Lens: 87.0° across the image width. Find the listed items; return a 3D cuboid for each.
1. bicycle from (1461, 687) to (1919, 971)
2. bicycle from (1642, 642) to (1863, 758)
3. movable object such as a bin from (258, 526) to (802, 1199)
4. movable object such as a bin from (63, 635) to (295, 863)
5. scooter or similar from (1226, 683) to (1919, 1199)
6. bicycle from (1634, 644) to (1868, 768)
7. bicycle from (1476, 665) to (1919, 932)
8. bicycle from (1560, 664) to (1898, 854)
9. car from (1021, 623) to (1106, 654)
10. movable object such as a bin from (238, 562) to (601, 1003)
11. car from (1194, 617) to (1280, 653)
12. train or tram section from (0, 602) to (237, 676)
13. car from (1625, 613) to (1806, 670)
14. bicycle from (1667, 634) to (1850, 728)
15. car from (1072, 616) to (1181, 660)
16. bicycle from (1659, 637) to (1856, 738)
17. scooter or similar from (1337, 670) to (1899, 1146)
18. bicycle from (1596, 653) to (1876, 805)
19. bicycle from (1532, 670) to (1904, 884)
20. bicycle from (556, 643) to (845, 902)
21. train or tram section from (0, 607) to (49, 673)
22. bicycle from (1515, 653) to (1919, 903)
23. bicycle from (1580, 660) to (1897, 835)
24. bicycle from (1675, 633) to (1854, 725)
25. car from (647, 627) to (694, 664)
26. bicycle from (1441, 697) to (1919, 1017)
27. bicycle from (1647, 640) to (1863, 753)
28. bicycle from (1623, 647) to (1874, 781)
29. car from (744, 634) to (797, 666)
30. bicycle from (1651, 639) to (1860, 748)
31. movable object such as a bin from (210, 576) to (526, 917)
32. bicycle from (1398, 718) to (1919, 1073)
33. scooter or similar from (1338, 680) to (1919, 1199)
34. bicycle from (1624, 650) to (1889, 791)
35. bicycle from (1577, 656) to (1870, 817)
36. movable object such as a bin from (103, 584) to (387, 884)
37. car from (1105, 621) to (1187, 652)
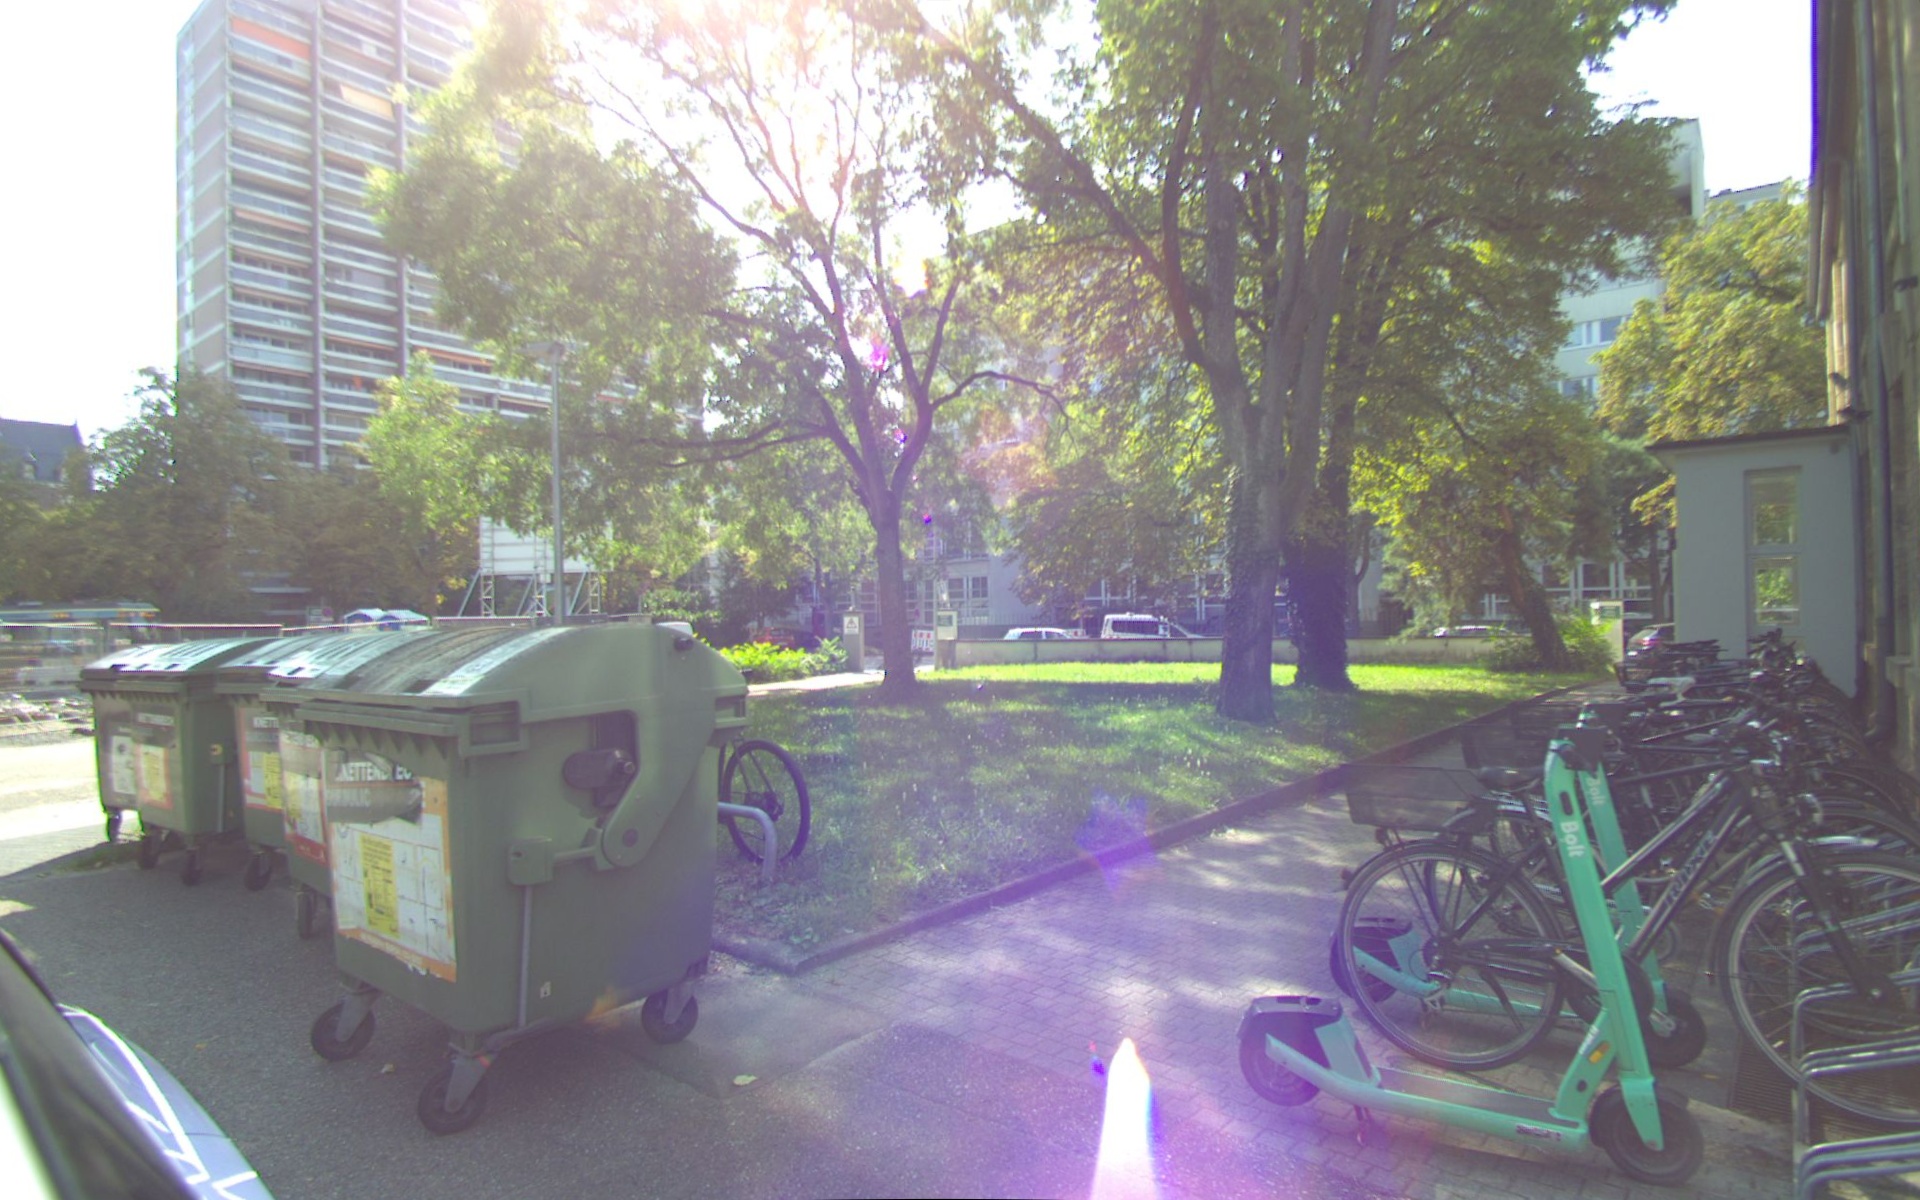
[{"bbox_3d":[3.441,0.991,4.747,1.910,1.083,0.321,-2,-1,39],"label":"bicycle"},{"bbox_3d":[8.059,0.984,10.368,1.744,1.092,0.321,-2,-1,39],"label":"bicycle"},{"bbox_3d":[-1.451,0.685,3.447,1.375,1.718,1.170,-2,-1,36],"label":"movable object such as a bin"},{"bbox_3d":[-5.818,1.032,7.567,1.103,1.509,1.027,-1,-1,29],"label":"movable object such as a bin"},{"bbox_3d":[1.501,0.876,2.692,1.485,1.272,0.383,-1,-1,21],"label":"scooter or similar"},{"bbox_3d":[7.616,0.986,9.821,1.744,1.092,0.321,-2,-1,39],"label":"bicycle"},{"bbox_3d":[3.791,0.948,5.282,1.914,1.157,0.321,-2,-1,39],"label":"bicycle"},{"bbox_3d":[5.063,0.999,6.778,1.744,1.092,0.321,-2,-1,39],"label":"bicycle"},{"bbox_3d":[4.952,1.860,48.975,1.768,1.431,4.007,0,-2,-39],"label":"car"},{"bbox_3d":[-2.613,0.722,4.861,1.395,1.718,1.167,-2,-1,44],"label":"movable object such as a bin"},{"bbox_3d":[13.043,1.638,47.853,1.833,1.555,4.013,-1,-1,-22],"label":"car"},{"bbox_3d":[-45.581,2.112,54.136,13.853,3.599,2.745,-2,-1,13],"label":"train or tram section"},{"bbox_3d":[21.993,1.211,29.627,3.782,1.555,1.722,-2,-1,14],"label":"car"},{"bbox_3d":[9.883,0.976,12.593,1.744,1.092,0.321,-2,-1,39],"label":"bicycle"},{"bbox_3d":[6.352,1.423,38.432,3.961,1.555,1.857,-2,-1,14],"label":"car"},{"bbox_3d":[9.179,0.979,11.712,1.744,1.092,0.321,-2,-1,39],"label":"bicycle"},{"bbox_3d":[2.077,0.884,3.374,1.494,1.249,0.321,-2,-1,39],"label":"scooter or similar"},{"bbox_3d":[6.209,0.994,8.194,1.744,1.092,0.321,-2,-1,39],"label":"bicycle"},{"bbox_3d":[4.501,1.002,6.140,1.744,1.092,0.321,-2,-1,39],"label":"bicycle"},{"bbox_3d":[-1.530,0.866,5.715,2.006,1.222,0.471,-2,-1,39],"label":"bicycle"},{"bbox_3d":[-58.521,2.377,57.096,14.442,3.599,2.745,-2,-1,13],"label":"train or tram section"},{"bbox_3d":[4.159,0.909,5.637,1.823,1.198,0.321,-2,-1,39],"label":"bicycle"},{"bbox_3d":[5.497,0.997,7.253,1.744,1.092,0.321,-2,-1,39],"label":"bicycle"},{"bbox_3d":[10.192,0.973,12.880,1.744,1.092,0.321,-2,-1,39],"label":"bicycle"},{"bbox_3d":[-15.760,2.452,55.040,1.833,1.918,4.013,-1,-1,-25],"label":"car"},{"bbox_3d":[3.080,1.008,4.311,1.817,1.088,0.321,-2,-1,39],"label":"bicycle"},{"bbox_3d":[8.340,0.983,10.691,1.744,1.092,0.321,-2,-1,39],"label":"bicycle"},{"bbox_3d":[7.090,0.989,9.187,1.744,1.092,0.321,-2,-1,39],"label":"bicycle"},{"bbox_3d":[-10.224,2.651,54.339,1.833,1.555,4.013,-1,-1,-25],"label":"car"},{"bbox_3d":[8.594,0.982,11.011,1.744,1.092,0.321,-2,-1,39],"label":"bicycle"},{"bbox_3d":[-3.501,0.750,5.992,1.375,1.718,1.170,-2,-1,36],"label":"movable object such as a bin"},{"bbox_3d":[2.610,0.999,3.723,1.799,1.004,0.321,-2,-1,39],"label":"bicycle"},{"bbox_3d":[1.936,0.887,2.981,1.494,1.240,0.321,-2,-1,39],"label":"scooter or similar"},{"bbox_3d":[6.784,0.989,8.711,1.744,1.092,0.321,-2,-1,39],"label":"bicycle"},{"bbox_3d":[5.799,0.997,7.788,1.744,1.092,0.321,-2,-1,39],"label":"bicycle"},{"bbox_3d":[-4.729,0.781,6.701,1.375,1.718,1.170,-2,-1,36],"label":"movable object such as a bin"},{"bbox_3d":[9.079,1.791,49.589,1.766,1.431,4.012,-1,-1,-29],"label":"car"}]
